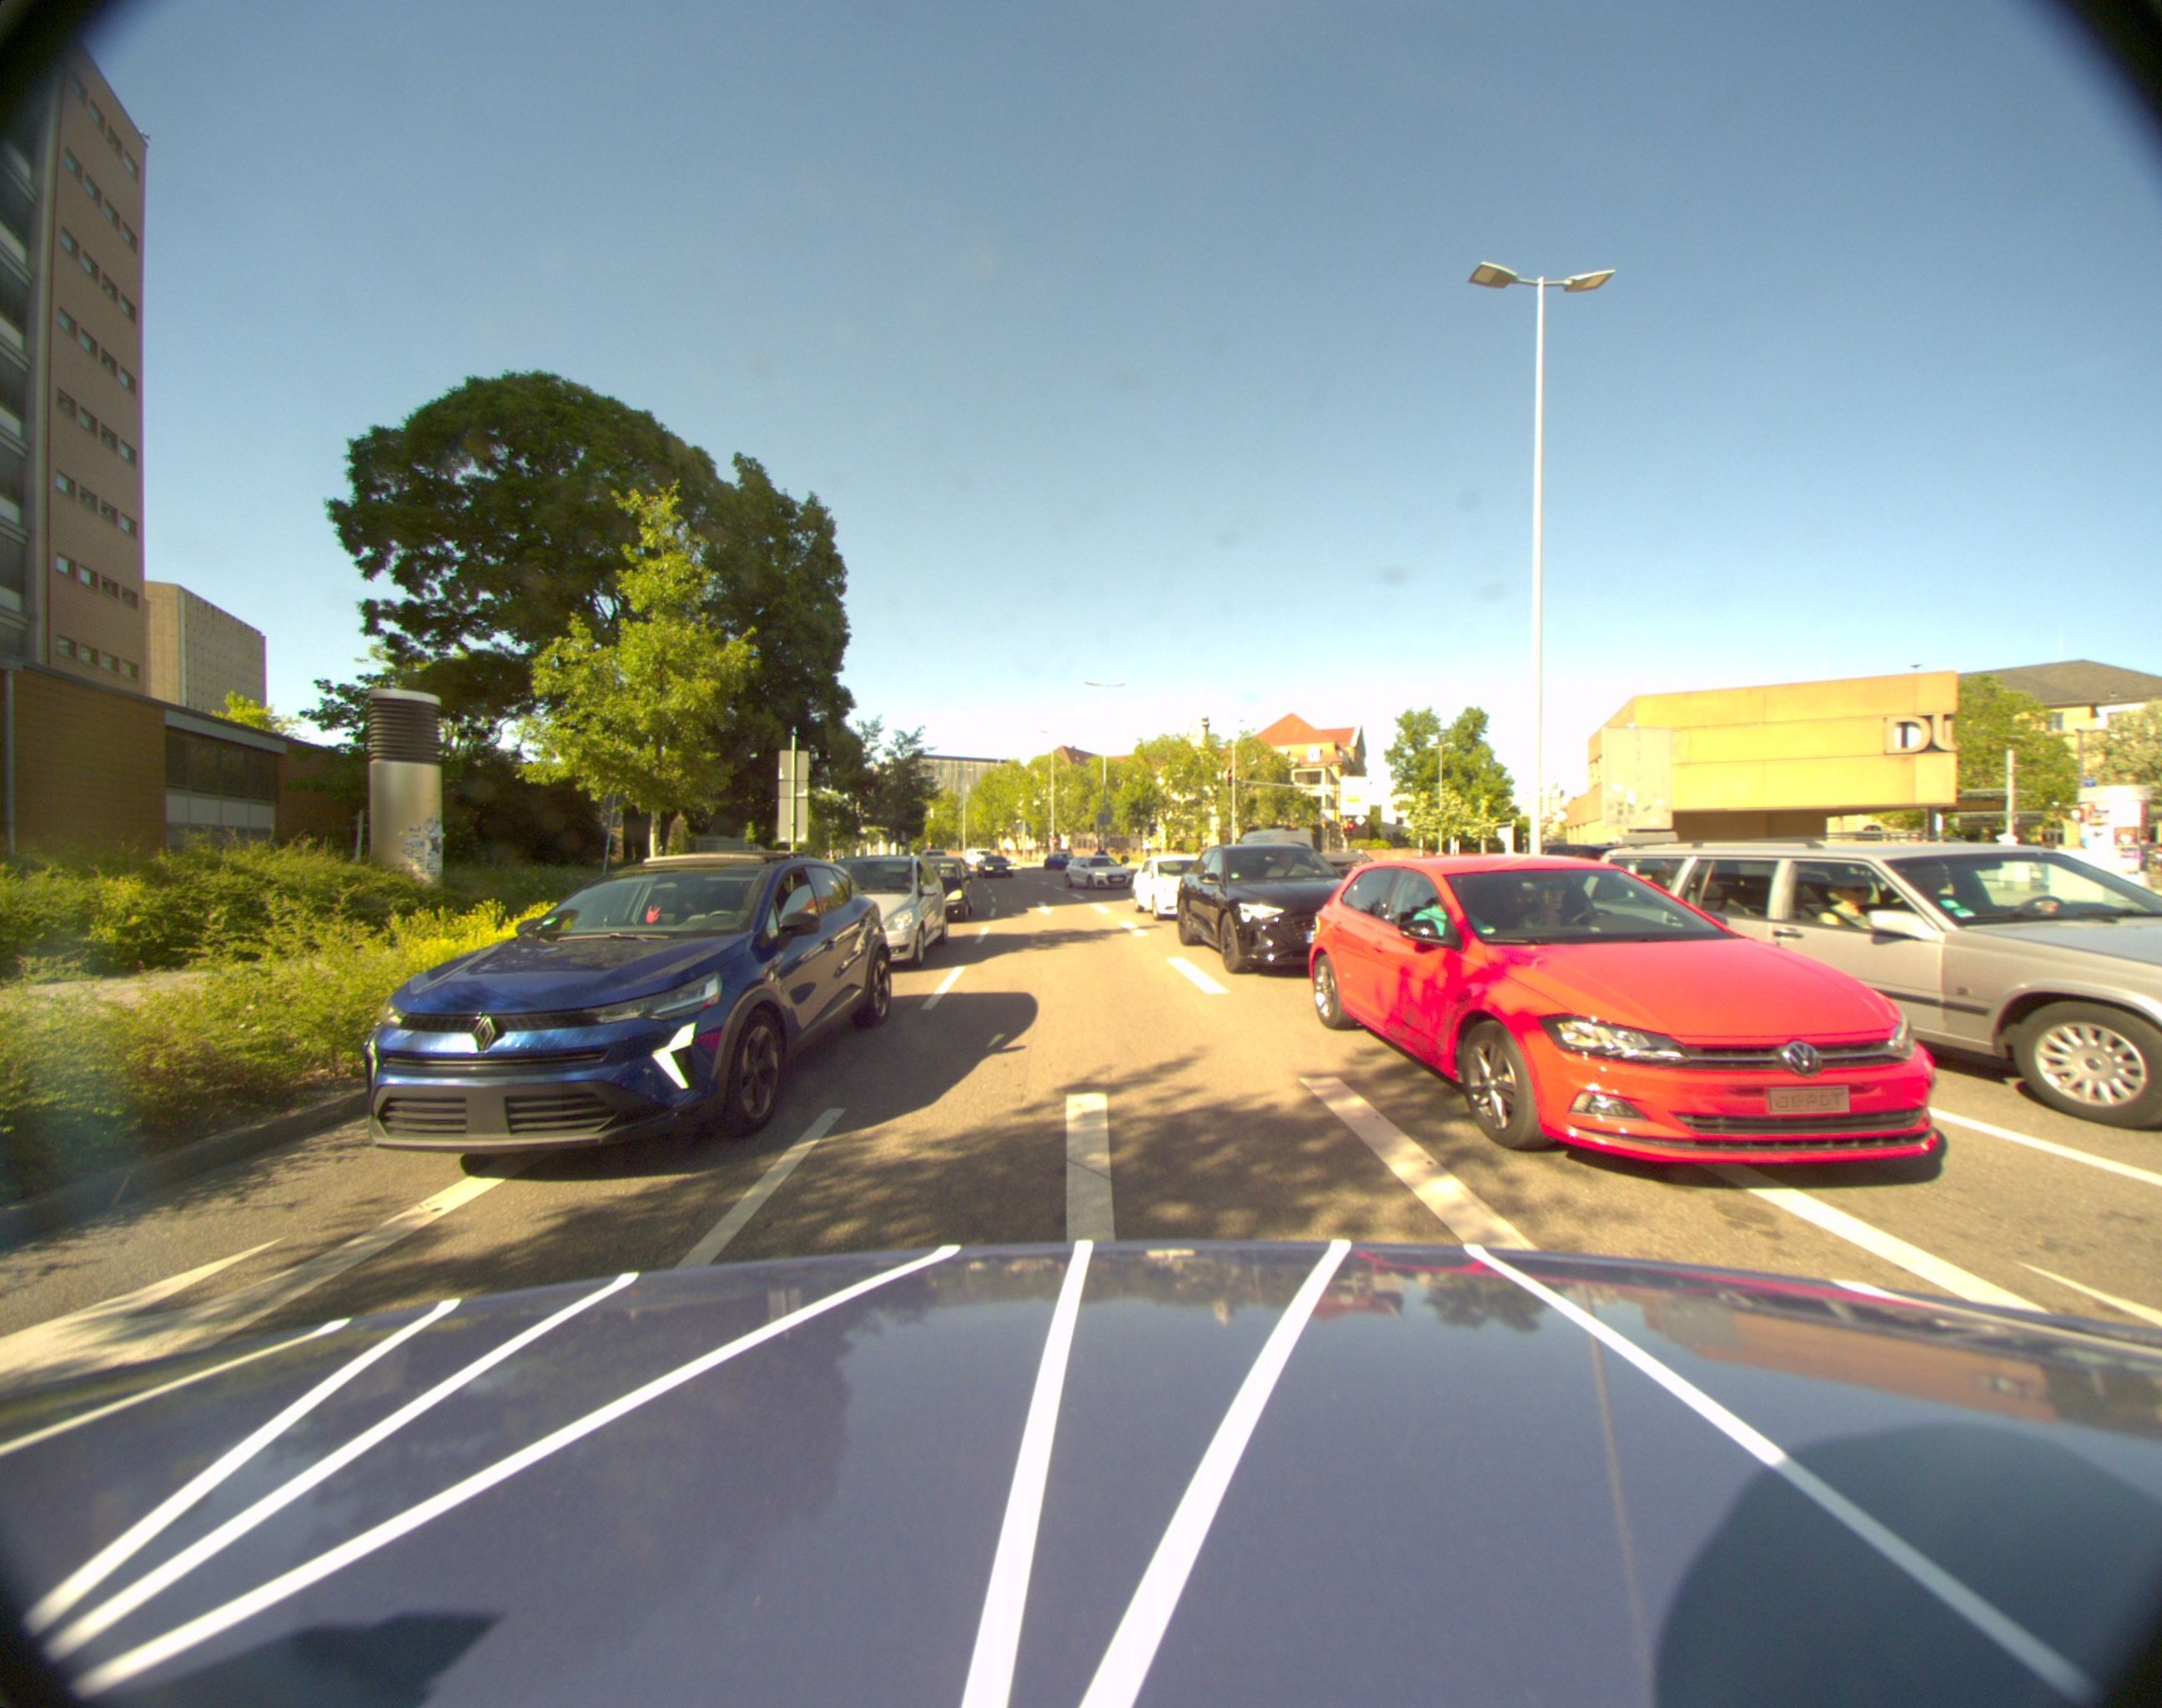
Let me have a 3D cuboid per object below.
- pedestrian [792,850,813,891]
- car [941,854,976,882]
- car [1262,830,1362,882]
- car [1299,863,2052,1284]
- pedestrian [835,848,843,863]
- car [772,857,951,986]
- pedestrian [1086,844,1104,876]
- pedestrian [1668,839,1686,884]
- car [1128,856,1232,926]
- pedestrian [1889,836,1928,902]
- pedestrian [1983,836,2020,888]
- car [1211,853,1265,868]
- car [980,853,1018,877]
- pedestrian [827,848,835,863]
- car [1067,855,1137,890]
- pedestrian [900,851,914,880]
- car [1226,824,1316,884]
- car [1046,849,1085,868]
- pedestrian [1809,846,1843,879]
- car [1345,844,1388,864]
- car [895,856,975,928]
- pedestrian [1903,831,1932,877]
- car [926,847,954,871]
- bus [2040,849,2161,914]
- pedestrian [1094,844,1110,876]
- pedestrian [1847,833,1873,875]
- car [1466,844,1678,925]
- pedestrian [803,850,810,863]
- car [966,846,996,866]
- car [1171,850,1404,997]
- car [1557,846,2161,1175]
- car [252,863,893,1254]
[{"bbox_3d":[-10.885,0.637,29.711,0.693,1.595,0.660,0,1,-14],"label":"pedestrian"},{"bbox_3d":[-7.216,0.802,44.522,1.753,1.467,3.569,-2,1,-14],"label":"car"},{"bbox_3d":[11.179,0.065,37.371,2.117,2.300,6.208,-1,0,-10],"label":"car"},{"bbox_3d":[2.796,0.845,4.777,1.674,1.464,3.853,-2,0,-1],"label":"car"},{"bbox_3d":[-31.149,0.163,97.739,0.822,1.906,0.770,-2,1,-20],"label":"pedestrian"},{"bbox_3d":[-3.167,0.870,11.804,1.786,1.615,4.042,0,0,-3],"label":"car"},{"bbox_3d":[0.836,0.339,44.912,0.887,1.814,0.776,-2,1,-7],"label":"pedestrian"},{"bbox_3d":[24.007,0.296,30.615,0.467,1.766,0.647,0,1,29],"label":"pedestrian"},{"bbox_3d":[2.241,0.794,18.088,1.575,1.410,3.711,-3,1,-6],"label":"car"},{"bbox_3d":[22.806,0.398,20.940,0.647,1.778,0.666,-3,1,-38],"label":"pedestrian"},{"bbox_3d":[31.363,0.270,25.881,0.644,1.766,0.469,0,1,21],"label":"pedestrian"},{"bbox_3d":[12.698,0.505,61.462,3.999,1.197,1.584,0,0,-5],"label":"car"},{"bbox_3d":[-5.423,0.670,49.701,1.883,1.472,3.995,-2,1,-15],"label":"car"},{"bbox_3d":[-32.067,0.199,97.514,0.822,1.906,0.770,-2,1,-20],"label":"pedestrian"},{"bbox_3d":[0.842,0.747,32.352,1.754,1.370,3.568,-1,1,-20],"label":"car"},{"bbox_3d":[-9.670,0.652,42.196,0.662,1.595,0.691,-1,1,-21],"label":"pedestrian"},{"bbox_3d":[8.556,-0.016,34.830,2.000,2.493,5.414,0,0,-10],"label":"car"},{"bbox_3d":[-1.345,0.391,64.221,1.599,1.596,3.063,-1,1,-45],"label":"car"},{"bbox_3d":[30.046,0.322,30.650,0.645,1.303,0.763,-1,1,9],"label":"pedestrian"},{"bbox_3d":[24.608,-0.010,65.421,3.385,1.670,1.522,-2,1,-26],"label":"car"},{"bbox_3d":[-3.566,0.859,19.049,1.651,1.601,3.487,0,0,-6],"label":"car"},{"bbox_3d":[33.055,-0.003,30.018,0.645,1.766,0.468,-1,1,-4],"label":"pedestrian"},{"bbox_3d":[-11.236,0.394,60.499,1.829,1.842,3.747,0,0,-16],"label":"car"},{"bbox_3d":[21.631,0.537,14.333,1.646,1.234,4.181,-1,0,-5],"label":"bus"},{"bbox_3d":[1.185,0.356,43.598,0.756,1.814,0.776,-2,1,-6],"label":"pedestrian"},{"bbox_3d":[33.203,-0.016,32.383,0.645,1.766,0.468,-1,1,-4],"label":"pedestrian"},{"bbox_3d":[11.118,0.616,17.610,1.870,1.649,4.068,0,0,-10],"label":"car"},{"bbox_3d":[-42.701,0.355,118.146,0.823,1.906,0.770,-3,1,-26],"label":"pedestrian"},{"bbox_3d":[-10.560,0.212,79.717,1.790,2.002,4.223,-2,1,-26],"label":"car"},{"bbox_3d":[2.568,0.756,10.661,1.859,1.606,4.452,-1,0,-3],"label":"car"},{"bbox_3d":[5.759,0.729,5.289,1.713,1.464,4.751,-3,0,-2],"label":"car"},{"bbox_3d":[-2.689,0.907,5.316,1.705,1.596,4.083,-1,0,0],"label":"car"}]
